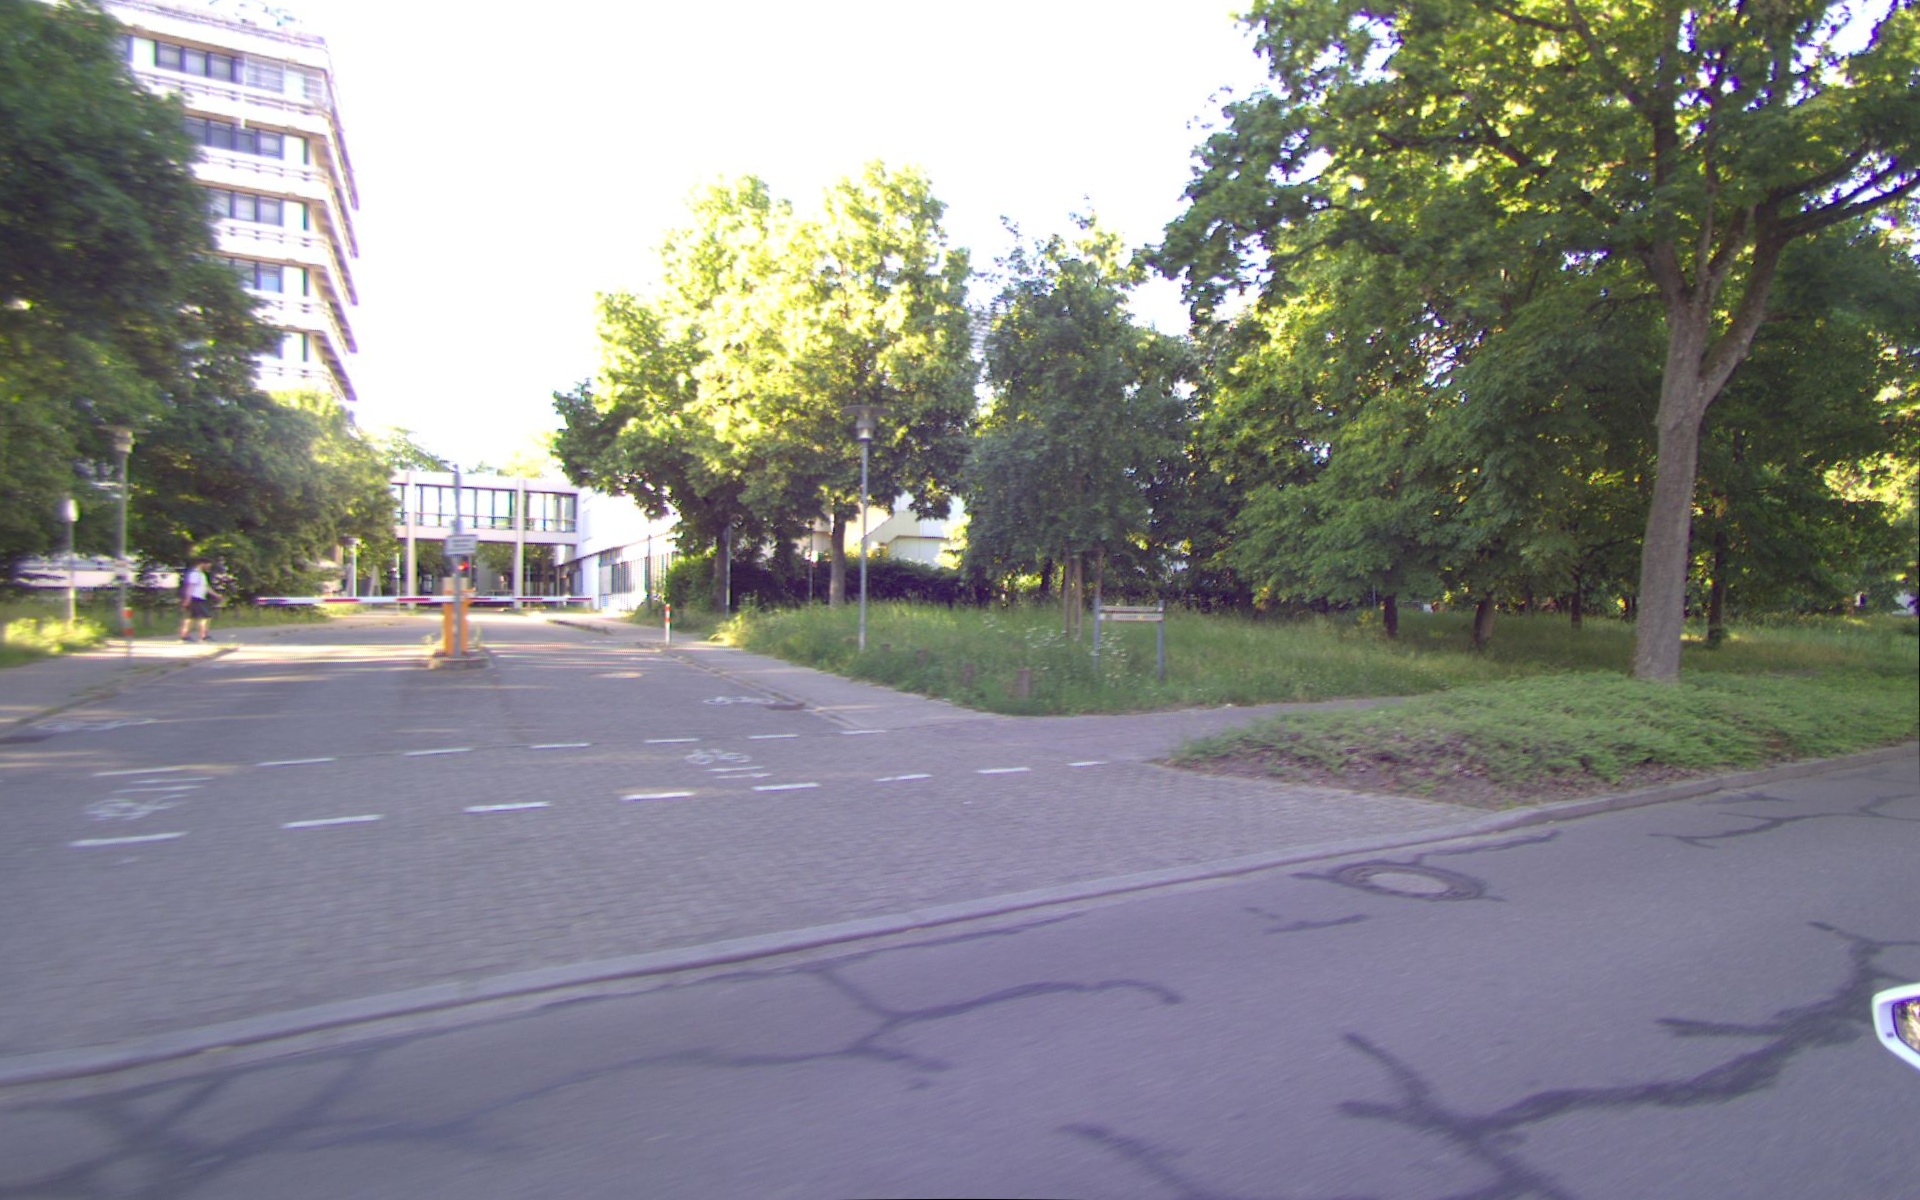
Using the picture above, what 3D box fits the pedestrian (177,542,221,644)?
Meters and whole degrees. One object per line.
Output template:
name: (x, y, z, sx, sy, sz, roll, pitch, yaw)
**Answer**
pedestrian: (-15.615, -0.144, 20.623, 0.583, 2.040, 0.753, 1, 1, -28)
